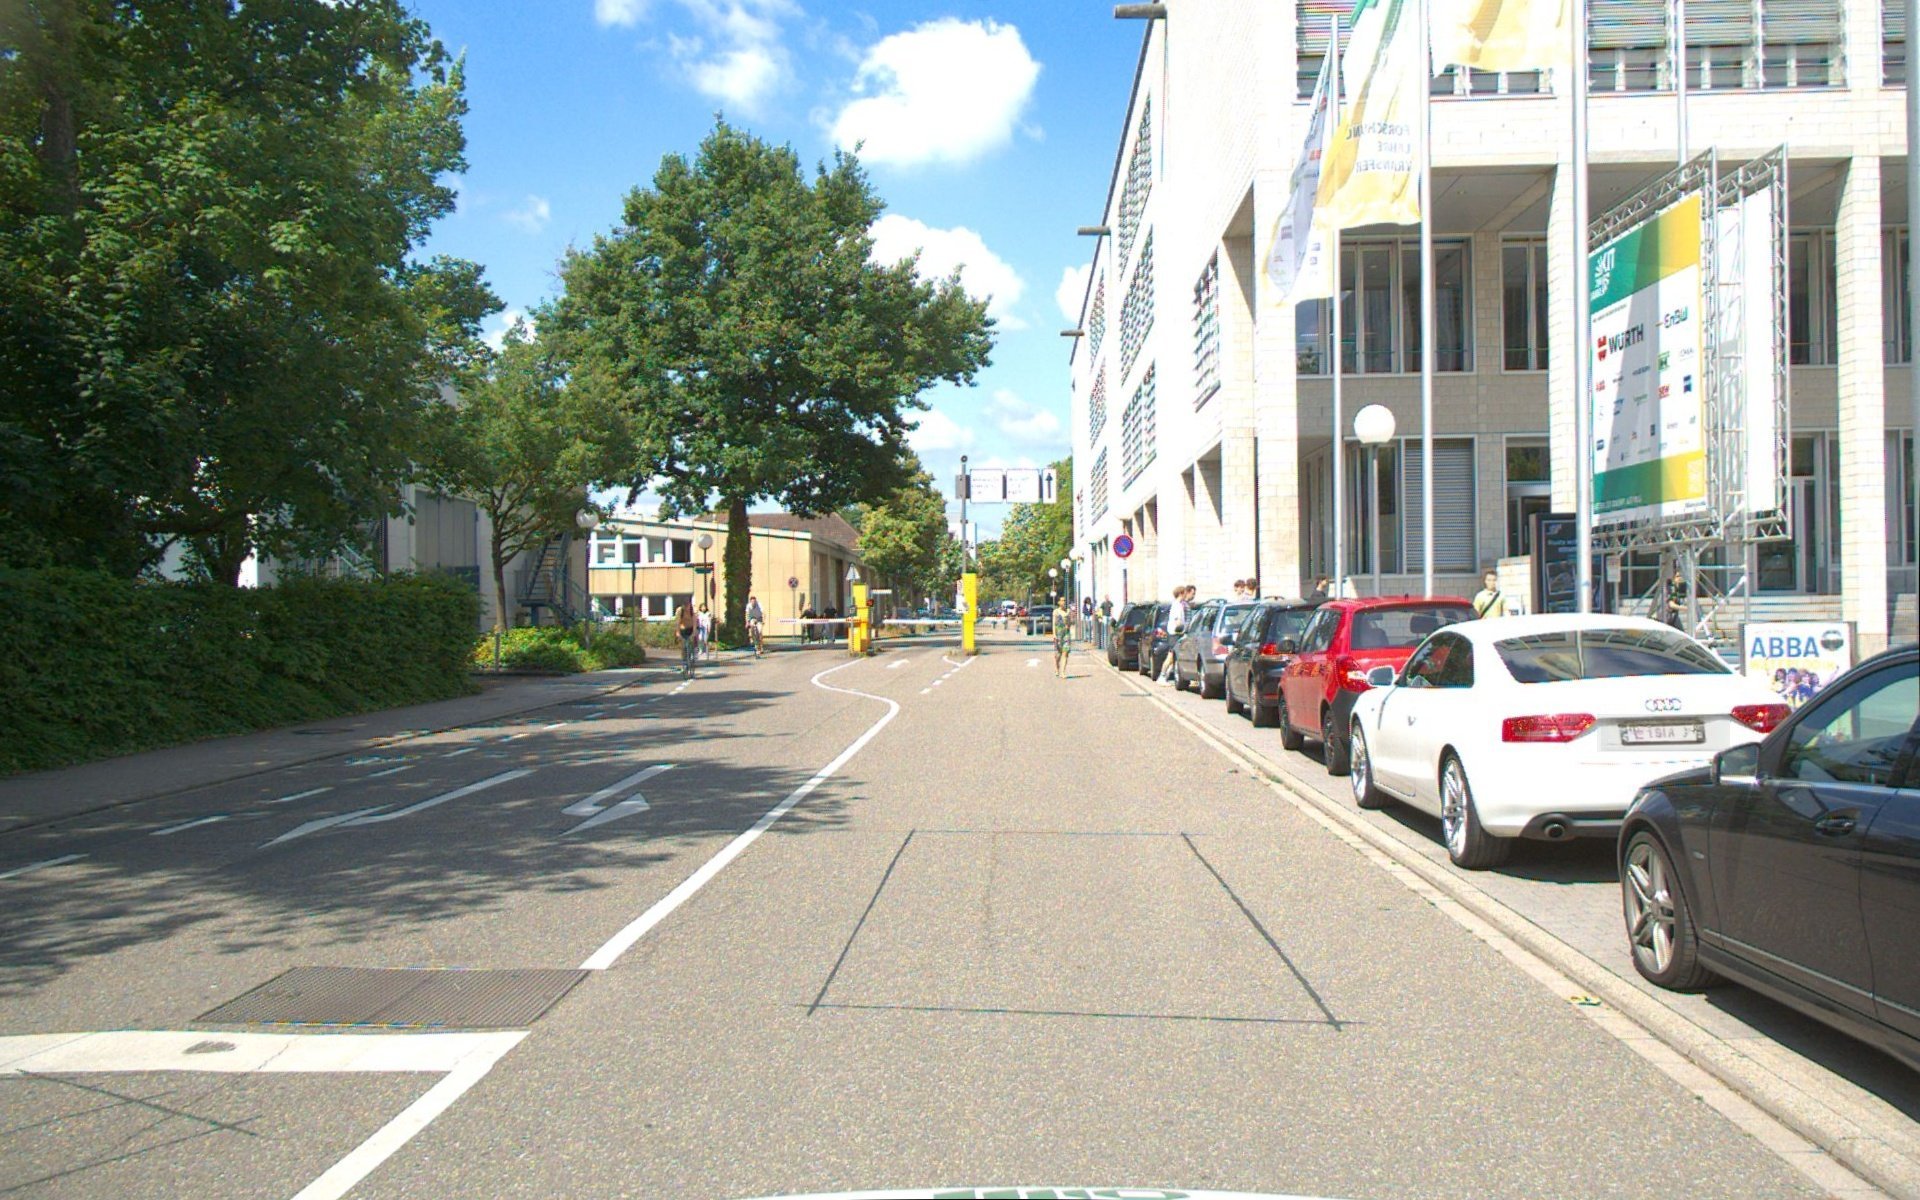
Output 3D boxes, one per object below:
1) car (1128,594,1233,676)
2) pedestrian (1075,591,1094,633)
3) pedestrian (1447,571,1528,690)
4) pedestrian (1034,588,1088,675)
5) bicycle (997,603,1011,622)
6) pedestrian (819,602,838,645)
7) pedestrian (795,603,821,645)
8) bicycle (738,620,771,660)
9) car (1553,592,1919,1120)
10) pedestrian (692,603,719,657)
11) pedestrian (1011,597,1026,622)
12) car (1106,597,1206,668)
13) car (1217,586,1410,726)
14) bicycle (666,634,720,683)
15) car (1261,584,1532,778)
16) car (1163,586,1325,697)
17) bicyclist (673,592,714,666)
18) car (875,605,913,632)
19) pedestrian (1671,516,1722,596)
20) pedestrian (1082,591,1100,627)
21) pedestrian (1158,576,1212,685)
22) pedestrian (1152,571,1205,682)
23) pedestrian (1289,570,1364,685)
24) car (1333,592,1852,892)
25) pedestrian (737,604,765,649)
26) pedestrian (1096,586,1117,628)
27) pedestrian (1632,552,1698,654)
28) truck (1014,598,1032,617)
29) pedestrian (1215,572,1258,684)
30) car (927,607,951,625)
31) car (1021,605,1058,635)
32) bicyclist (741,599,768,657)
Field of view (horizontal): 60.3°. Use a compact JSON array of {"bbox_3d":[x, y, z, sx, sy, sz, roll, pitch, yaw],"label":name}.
[{"bbox_3d":[4.377,0.675,33.303,1.581,1.523,4.006,-1,0,0],"label":"car"},{"bbox_3d":[5.475,0.527,72.730,0.680,1.811,1.085,-3,0,0],"label":"pedestrian"},{"bbox_3d":[8.040,0.458,25.246,0.899,1.770,1.002,-1,0,1],"label":"pedestrian"},{"bbox_3d":[2.079,0.654,34.142,0.616,1.747,1.029,-1,0,-31],"label":"pedestrian"},{"bbox_3d":[3.341,0.956,125.115,0.967,1.339,2.964,-1,-2,1],"label":"bicycle"},{"bbox_3d":[-5.859,1.043,73.601,0.690,1.841,1.001,-1,0,0],"label":"pedestrian"},{"bbox_3d":[-6.799,1.070,73.862,1.034,1.847,0.806,-1,0,0],"label":"pedestrian"},{"bbox_3d":[-6.382,1.236,51.393,0.678,1.191,2.210,-1,-1,1],"label":"bicycle"},{"bbox_3d":[3.535,0.712,5.130,1.683,1.424,4.949,-3,0,2],"label":"car"},{"bbox_3d":[-7.994,0.933,51.992,0.698,1.655,0.883,-1,0,0],"label":"pedestrian"},{"bbox_3d":[3.824,0.620,107.639,0.875,1.661,0.888,-1,-1,6],"label":"pedestrian"},{"bbox_3d":[4.421,0.706,37.841,1.827,1.490,4.521,-1,0,1],"label":"car"},{"bbox_3d":[4.372,0.654,21.005,1.683,1.556,4.001,-2,0,2],"label":"car"},{"bbox_3d":[-5.863,1.264,36.397,0.776,1.006,2.210,-1,-1,1],"label":"bicycle"},{"bbox_3d":[4.009,0.665,15.847,1.581,1.522,4.148,-3,0,2],"label":"car"},{"bbox_3d":[4.501,0.622,26.862,1.684,1.556,4.565,-3,0,-1],"label":"car"},{"bbox_3d":[-5.876,0.634,36.520,0.678,1.575,1.018,-1,-1,1],"label":"bicyclist"},{"bbox_3d":[-3.970,1.080,99.693,1.952,1.573,4.213,-1,0,2],"label":"car"},{"bbox_3d":[15.459,-0.911,34.726,0.702,1.613,0.717,-2,-2,4],"label":"pedestrian"},{"bbox_3d":[6.165,0.428,77.977,0.726,1.661,0.887,-3,0,0],"label":"pedestrian"},{"bbox_3d":[4.126,0.550,30.276,0.766,1.959,0.734,-1,0,24],"label":"pedestrian"},{"bbox_3d":[3.906,0.477,29.577,0.767,1.959,0.593,-1,-1,24],"label":"pedestrian"},{"bbox_3d":[6.374,0.469,28.826,1.072,1.953,1.021,-1,0,2],"label":"pedestrian"},{"bbox_3d":[3.725,0.735,10.661,1.683,1.424,4.439,-4,0,2],"label":"car"},{"bbox_3d":[-9.207,1.162,72.887,0.866,1.959,1.006,-1,-1,22],"label":"pedestrian"},{"bbox_3d":[6.438,0.302,72.648,0.751,1.811,0.910,-3,0,0],"label":"pedestrian"},{"bbox_3d":[11.736,0.054,27.541,0.684,1.668,0.729,-1,-1,-37],"label":"pedestrian"},{"bbox_3d":[7.487,0.908,197.124,1.953,2.049,3.999,-1,-2,0],"label":"truck"},{"bbox_3d":[4.964,0.497,29.711,0.708,1.959,0.752,-1,0,8],"label":"pedestrian"},{"bbox_3d":[-1.891,1.470,149.755,1.952,1.573,4.213,-1,0,2],"label":"car"},{"bbox_3d":[4.428,1.102,92.378,1.952,1.573,4.212,-1,0,2],"label":"car"},{"bbox_3d":[-6.364,0.857,51.283,0.678,1.767,0.919,-1,-1,1],"label":"bicyclist"}]
